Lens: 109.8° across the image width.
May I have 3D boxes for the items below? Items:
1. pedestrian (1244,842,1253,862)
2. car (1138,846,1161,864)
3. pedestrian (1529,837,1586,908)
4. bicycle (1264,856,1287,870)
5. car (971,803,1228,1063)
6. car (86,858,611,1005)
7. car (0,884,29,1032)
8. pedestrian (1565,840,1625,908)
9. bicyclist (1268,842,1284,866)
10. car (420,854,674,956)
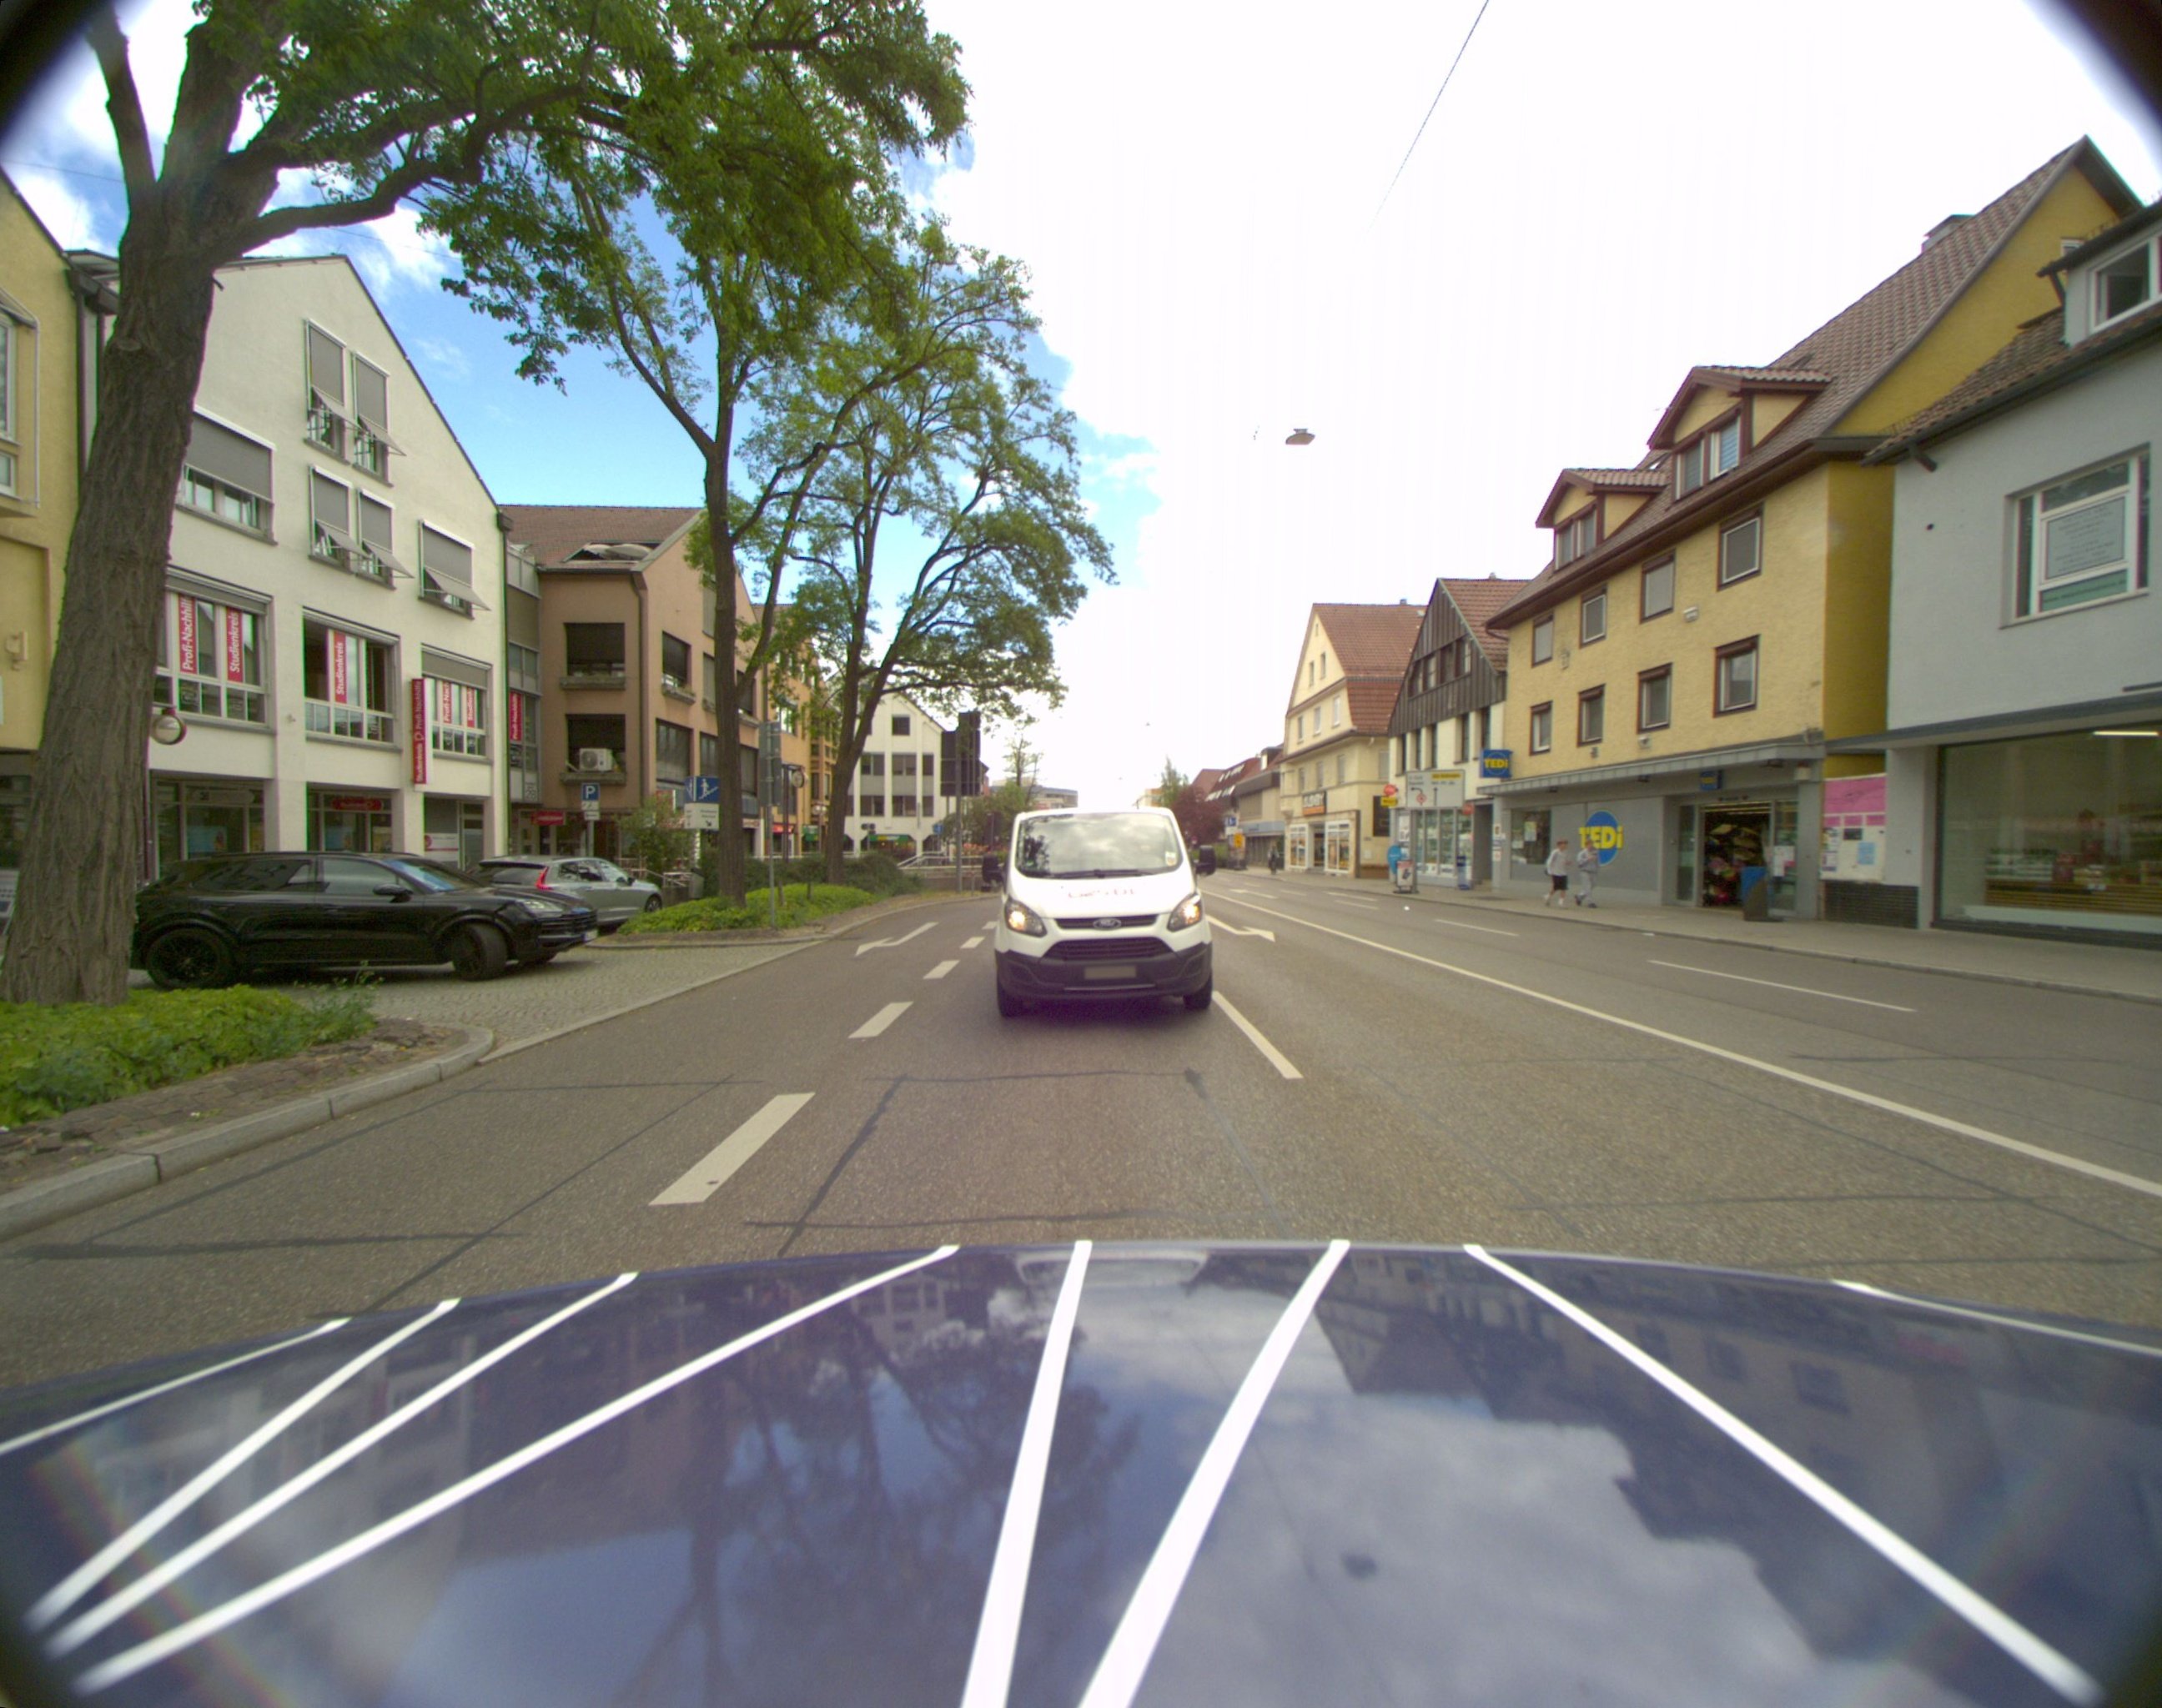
[{"bbox_3d":[15.620,-0.193,70.917,0.673,1.891,0.678,0,1,0],"label":"pedestrian"},{"bbox_3d":[7.117,0.074,79.850,1.928,1.766,4.768,1,1,0],"label":"car"},{"bbox_3d":[11.400,0.421,18.206,0.812,1.652,0.920,0,1,1],"label":"pedestrian"},{"bbox_3d":[11.525,0.529,44.982,0.773,0.818,2.239,0,1,0],"label":"bicycle"},{"bbox_3d":[0.160,0.590,8.843,1.940,1.968,5.779,-2,1,0],"label":"car"},{"bbox_3d":[-9.415,0.923,10.355,4.757,1.669,1.997,1,0,-17],"label":"car"},{"bbox_3d":[-10.399,0.956,4.482,1.843,1.302,4.751,1,1,-2],"label":"car"},{"bbox_3d":[12.304,0.460,18.214,0.812,1.574,0.920,0,1,1],"label":"pedestrian"},{"bbox_3d":[11.531,-0.014,44.973,0.773,1.415,0.752,0,1,-1],"label":"bicyclist"},{"bbox_3d":[-10.440,0.888,15.448,1.999,1.645,4.751,1,1,-3],"label":"car"}]
